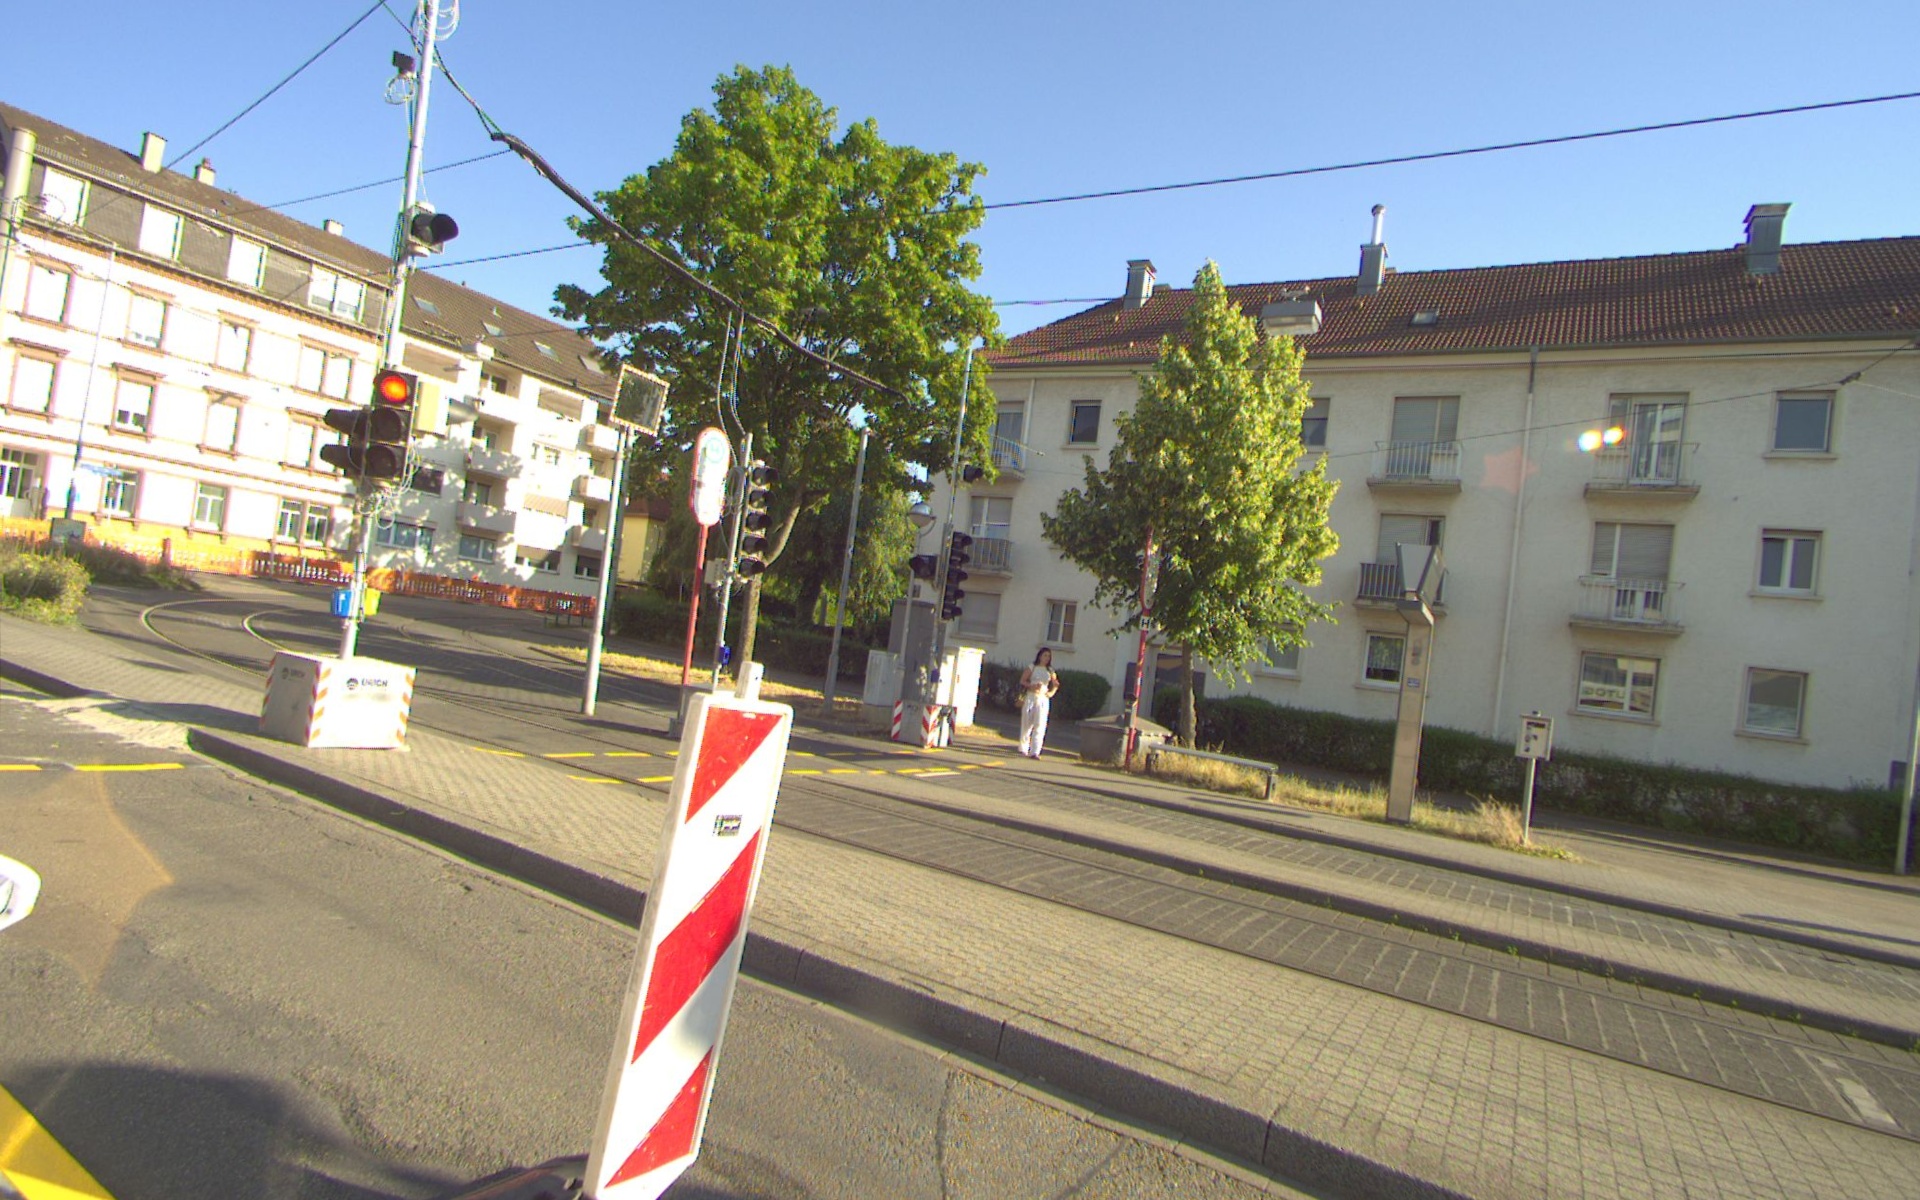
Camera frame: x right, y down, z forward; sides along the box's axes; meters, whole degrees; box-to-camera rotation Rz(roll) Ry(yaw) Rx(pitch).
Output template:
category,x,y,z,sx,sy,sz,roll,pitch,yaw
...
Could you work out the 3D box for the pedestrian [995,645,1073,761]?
category,x,y,z,sx,sy,sz,roll,pitch,yaw
pedestrian,1.145,1.576,15.507,0.811,1.639,0.791,7,-1,22
